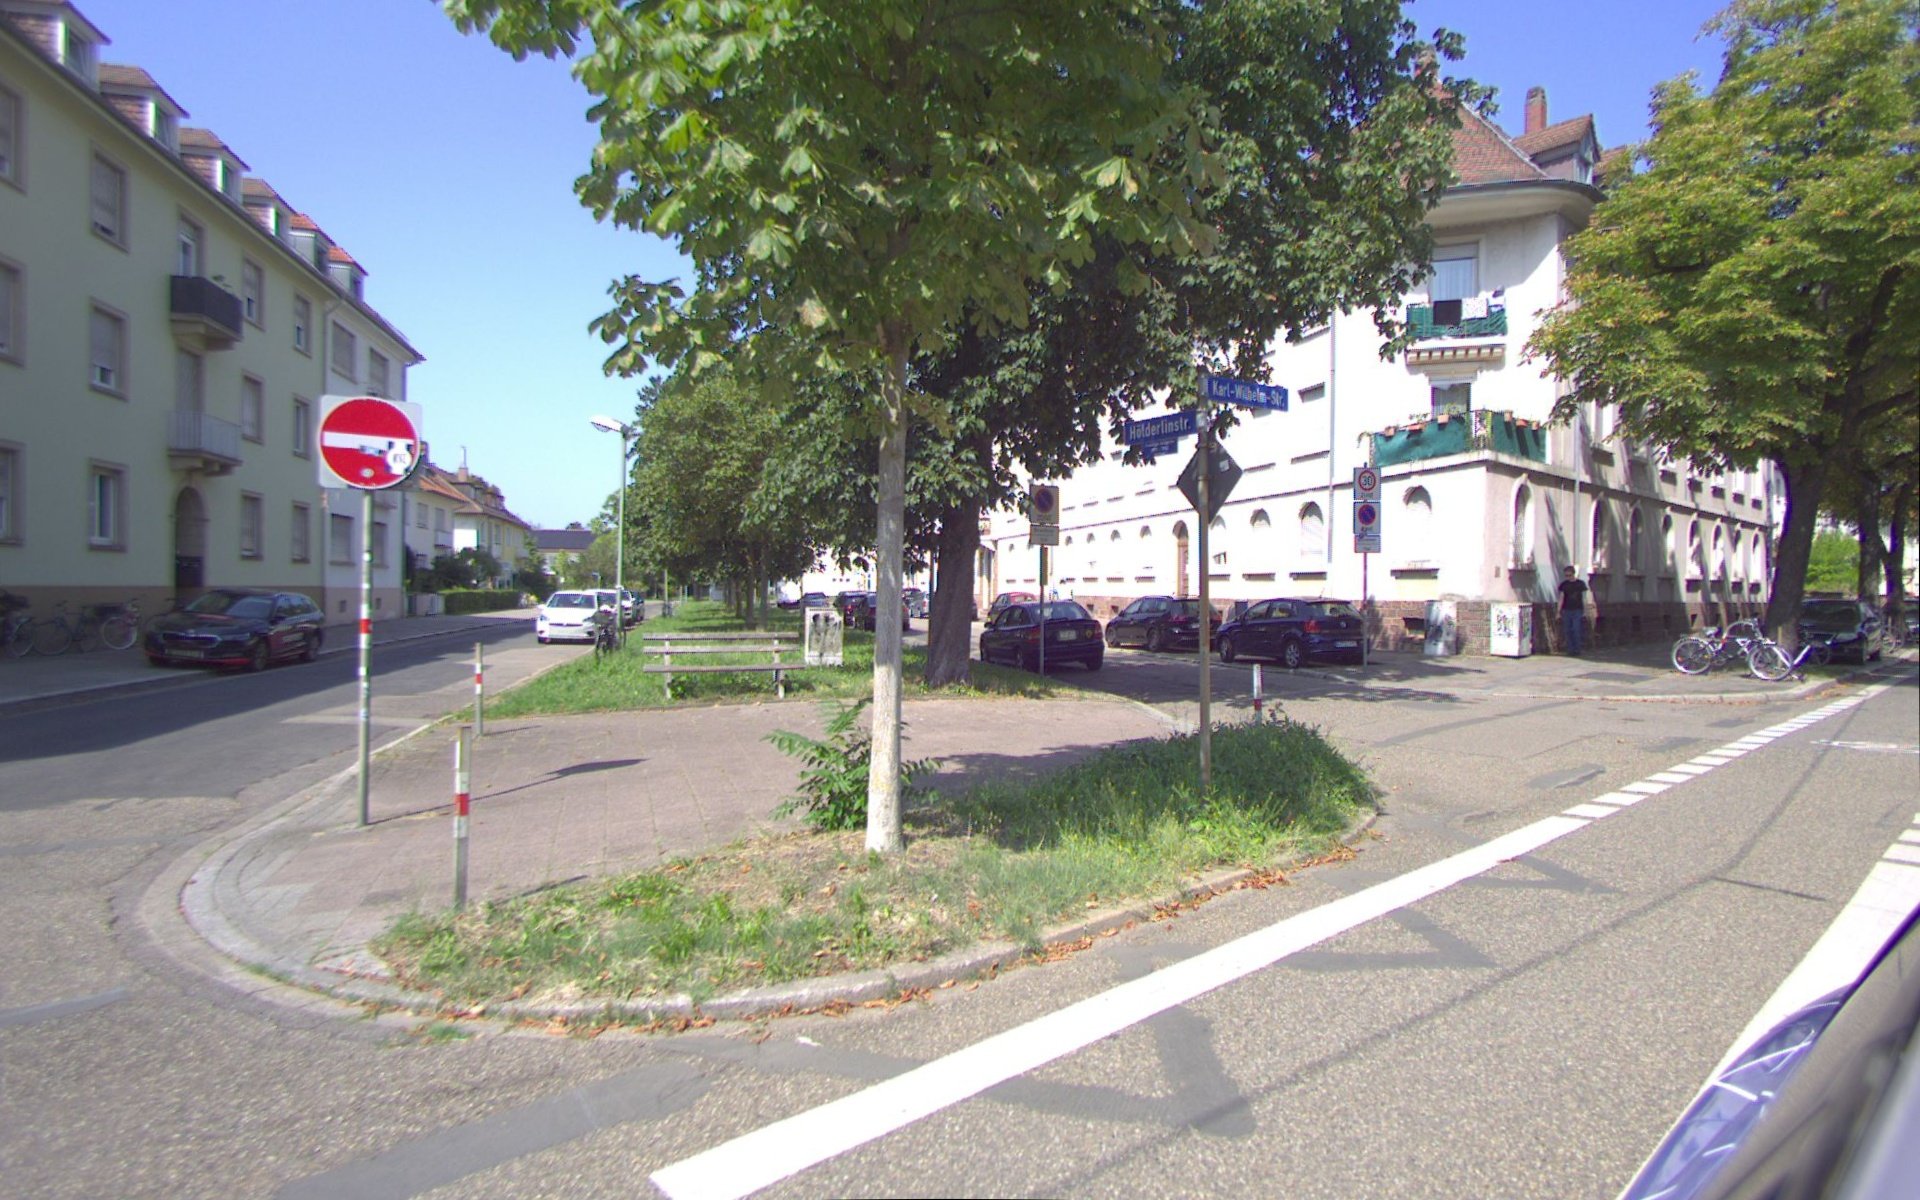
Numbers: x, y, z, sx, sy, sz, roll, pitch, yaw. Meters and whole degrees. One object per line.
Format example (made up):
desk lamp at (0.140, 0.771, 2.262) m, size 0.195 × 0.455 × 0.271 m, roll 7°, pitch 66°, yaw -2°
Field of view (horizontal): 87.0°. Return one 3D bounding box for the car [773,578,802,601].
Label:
car at (-13.764, -0.838, 80.506) m, size 2.001 × 1.758 × 4.008 m, roll 0°, pitch 1°, yaw -14°

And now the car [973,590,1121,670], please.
car at (1.662, 0.533, 20.814) m, size 1.799 × 1.448 × 4.008 m, roll 0°, pitch 1°, yaw -14°

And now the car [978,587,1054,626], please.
car at (2.196, 0.239, 40.817) m, size 1.934 × 1.457 × 4.008 m, roll 0°, pitch 1°, yaw -14°

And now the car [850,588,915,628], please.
car at (-3.090, 0.284, 39.491) m, size 1.799 × 1.448 × 4.287 m, roll 0°, pitch 1°, yaw -14°

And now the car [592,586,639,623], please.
car at (-14.591, 0.147, 42.998) m, size 1.565 × 1.497 × 4.008 m, roll 0°, pitch 1°, yaw -14°

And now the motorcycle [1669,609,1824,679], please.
motorcycle at (13.847, 0.742, 17.870) m, size 0.783 × 1.027 × 1.999 m, roll 0°, pitch 4°, yaw -41°

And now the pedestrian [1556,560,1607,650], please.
pedestrian at (12.826, 0.089, 20.890) m, size 0.621 × 1.808 × 0.749 m, roll 0°, pitch 0°, yaw -40°

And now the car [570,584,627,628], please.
car at (-13.077, 0.166, 36.808) m, size 1.565 × 1.497 × 4.008 m, roll 0°, pitch 1°, yaw -14°

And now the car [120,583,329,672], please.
car at (-14.320, 0.454, 20.034) m, size 1.841 × 1.560 × 4.338 m, roll 0°, pitch 1°, yaw -14°

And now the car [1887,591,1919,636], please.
car at (33.783, 0.460, 35.379) m, size 3.981 × 1.516 × 1.597 m, roll 0°, pitch 1°, yaw -41°

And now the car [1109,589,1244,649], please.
car at (5.662, 0.446, 26.958) m, size 1.934 × 1.457 × 4.008 m, roll 0°, pitch 1°, yaw -14°

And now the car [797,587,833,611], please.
car at (-9.170, -0.086, 63.725) m, size 1.799 × 1.448 × 4.008 m, roll 0°, pitch 1°, yaw -14°

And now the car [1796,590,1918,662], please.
car at (20.816, 0.534, 23.435) m, size 3.981 × 1.516 × 1.597 m, roll 0°, pitch 1°, yaw -41°

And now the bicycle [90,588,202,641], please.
bicycle at (-18.101, 0.294, 22.585) m, size 0.449 × 1.130 × 2.206 m, roll 1°, pitch 1°, yaw 10°

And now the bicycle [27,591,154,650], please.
bicycle at (-17.693, 0.380, 20.667) m, size 0.448 × 1.130 × 2.207 m, roll 1°, pitch 1°, yaw 9°

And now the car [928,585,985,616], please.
car at (-0.202, -0.002, 50.547) m, size 1.934 × 1.457 × 4.008 m, roll 0°, pitch 1°, yaw -14°

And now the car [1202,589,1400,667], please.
car at (7.079, 0.513, 21.467) m, size 1.933 × 1.461 × 4.009 m, roll 0°, pitch 1°, yaw -18°

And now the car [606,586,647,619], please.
car at (-15.927, 0.101, 48.480) m, size 1.565 × 1.497 × 4.008 m, roll 0°, pitch 1°, yaw -14°

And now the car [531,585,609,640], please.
car at (-11.351, 0.320, 29.646) m, size 1.652 × 1.497 × 4.008 m, roll 0°, pitch 1°, yaw -14°

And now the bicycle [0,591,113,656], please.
bicycle at (-17.241, 0.407, 19.153) m, size 0.448 × 1.130 × 2.211 m, roll 0°, pitch 1°, yaw 3°
